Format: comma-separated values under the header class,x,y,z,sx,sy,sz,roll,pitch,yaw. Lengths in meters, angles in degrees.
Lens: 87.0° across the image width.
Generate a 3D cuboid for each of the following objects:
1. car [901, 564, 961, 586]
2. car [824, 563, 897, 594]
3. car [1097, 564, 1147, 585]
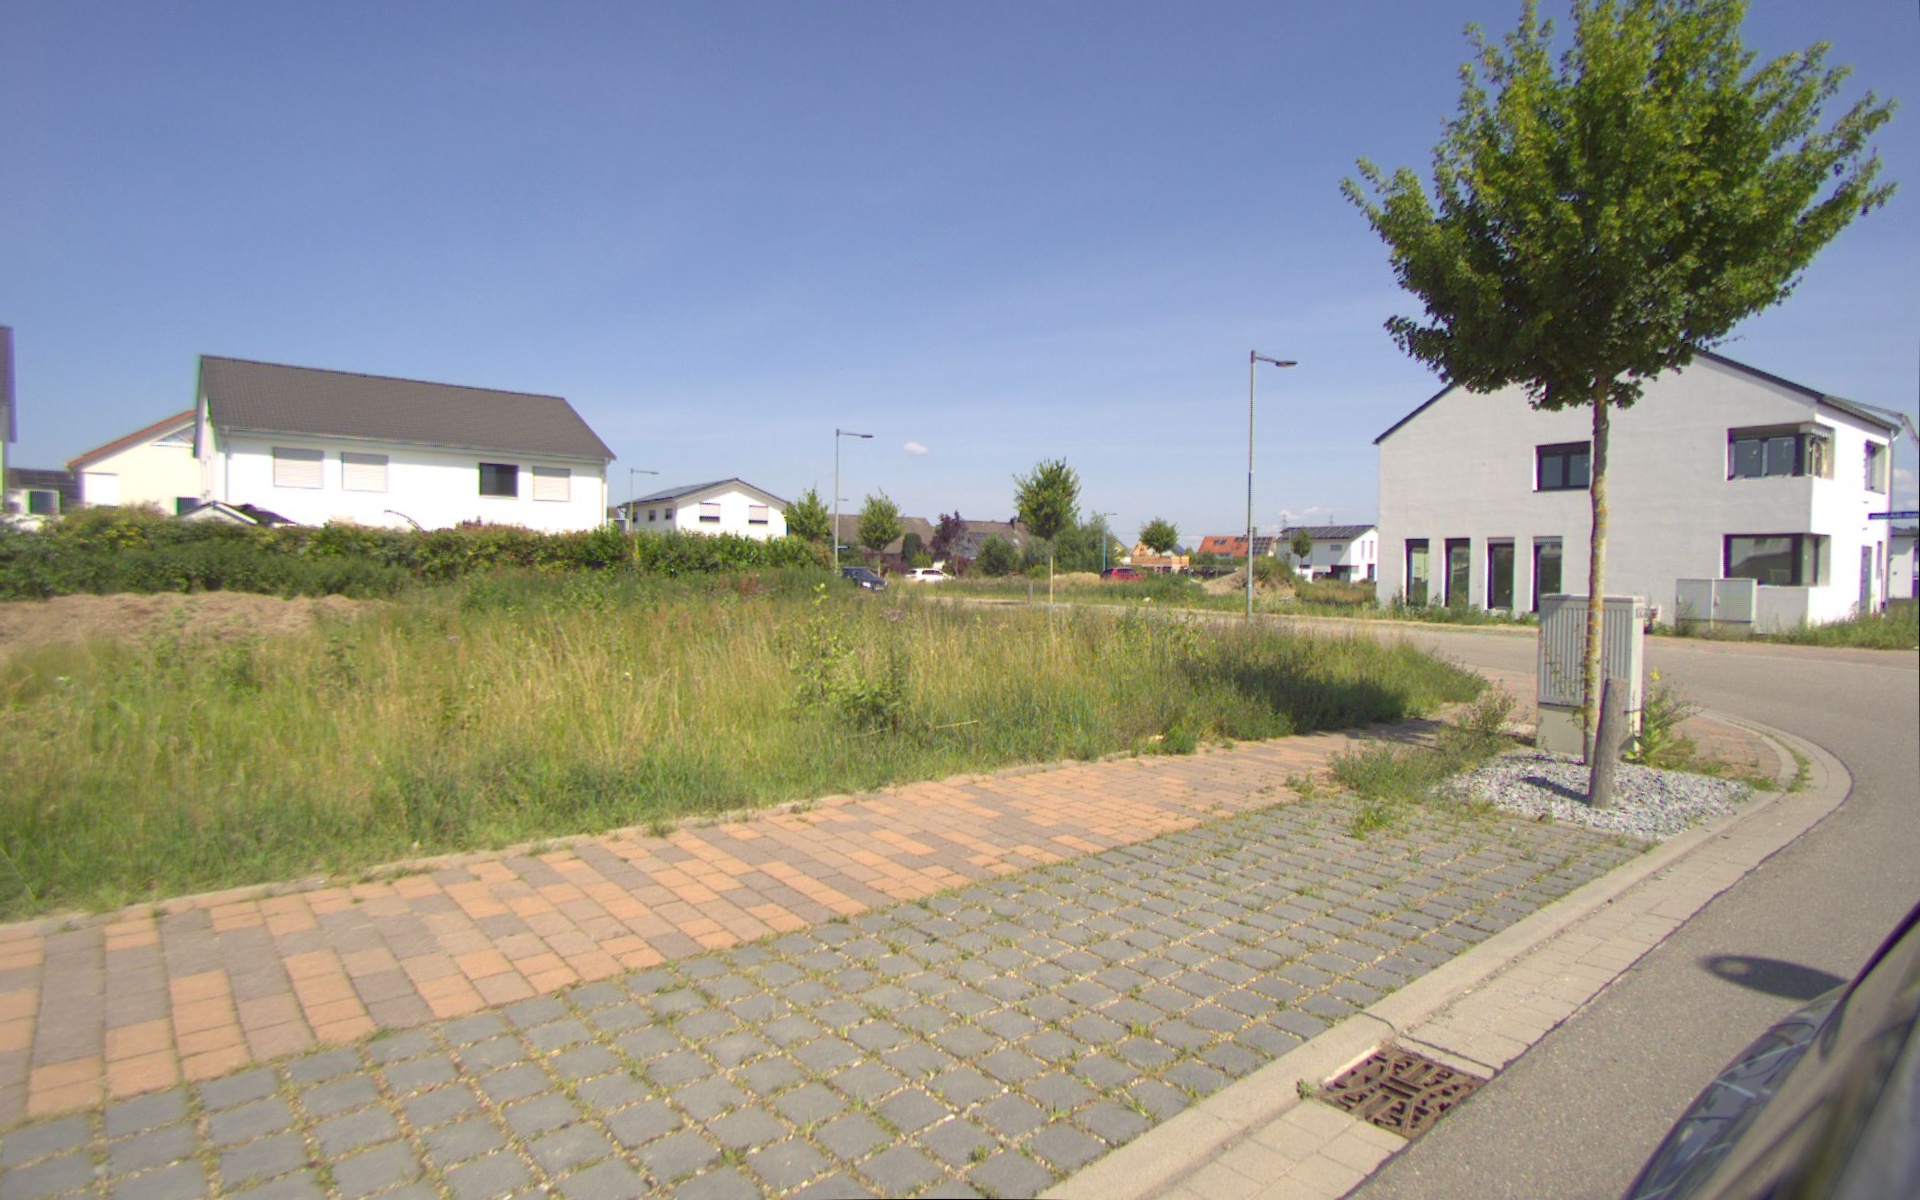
class,x,y,z,sx,sy,sz,roll,pitch,yaw
car,-2.069,-1.777,71.931,3.922,1.521,1.811,0,2,-33
car,-5.055,-1.119,50.949,1.785,1.471,4.143,-3,4,-37
car,13.295,-2.099,82.851,3.925,1.636,1.809,0,2,-36
